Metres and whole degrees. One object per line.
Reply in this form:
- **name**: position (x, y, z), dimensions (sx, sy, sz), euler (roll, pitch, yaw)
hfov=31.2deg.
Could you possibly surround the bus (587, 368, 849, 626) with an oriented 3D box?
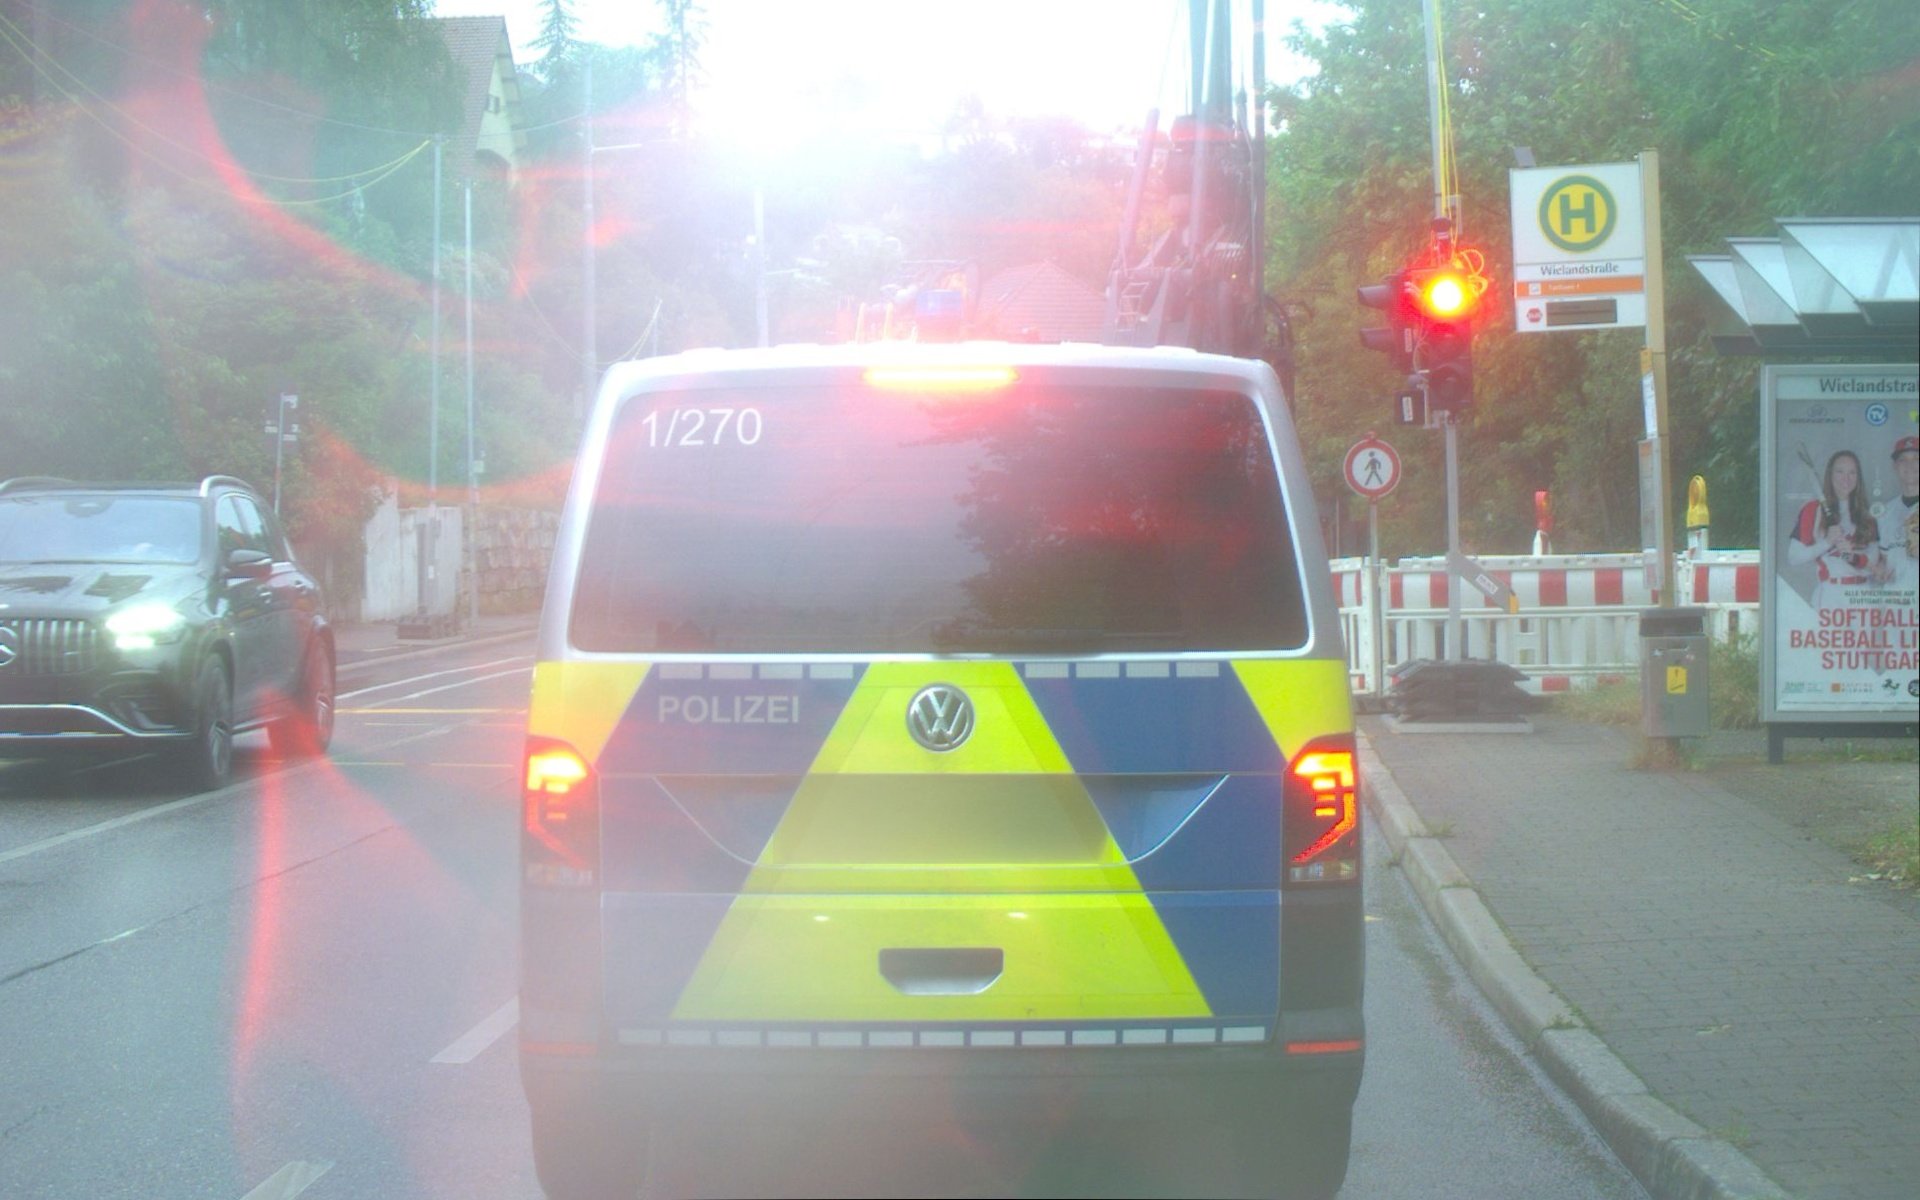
- **bus**: position (-3.713, -1.617, 55.882), dimensions (2.841, 3.705, 12.005), euler (1, 1, 3)

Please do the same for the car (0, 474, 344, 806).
- **car**: position (-5.040, 0.149, 20.474), dimensions (1.979, 1.742, 4.554), euler (1, 1, -1)

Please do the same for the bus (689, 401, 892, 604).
- **bus**: position (-3.173, -1.875, 67.845), dimensions (2.841, 3.612, 12.005), euler (1, 1, 3)

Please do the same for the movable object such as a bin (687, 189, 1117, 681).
- **movable object such as a bin**: position (-0.424, -1.460, 31.618), dimensions (2.832, 4.163, 4.378), euler (1, 1, 15)

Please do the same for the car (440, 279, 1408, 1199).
- **car**: position (-0.097, 0.358, 8.819), dimensions (1.893, 2.043, 4.000), euler (1, 1, -1)
